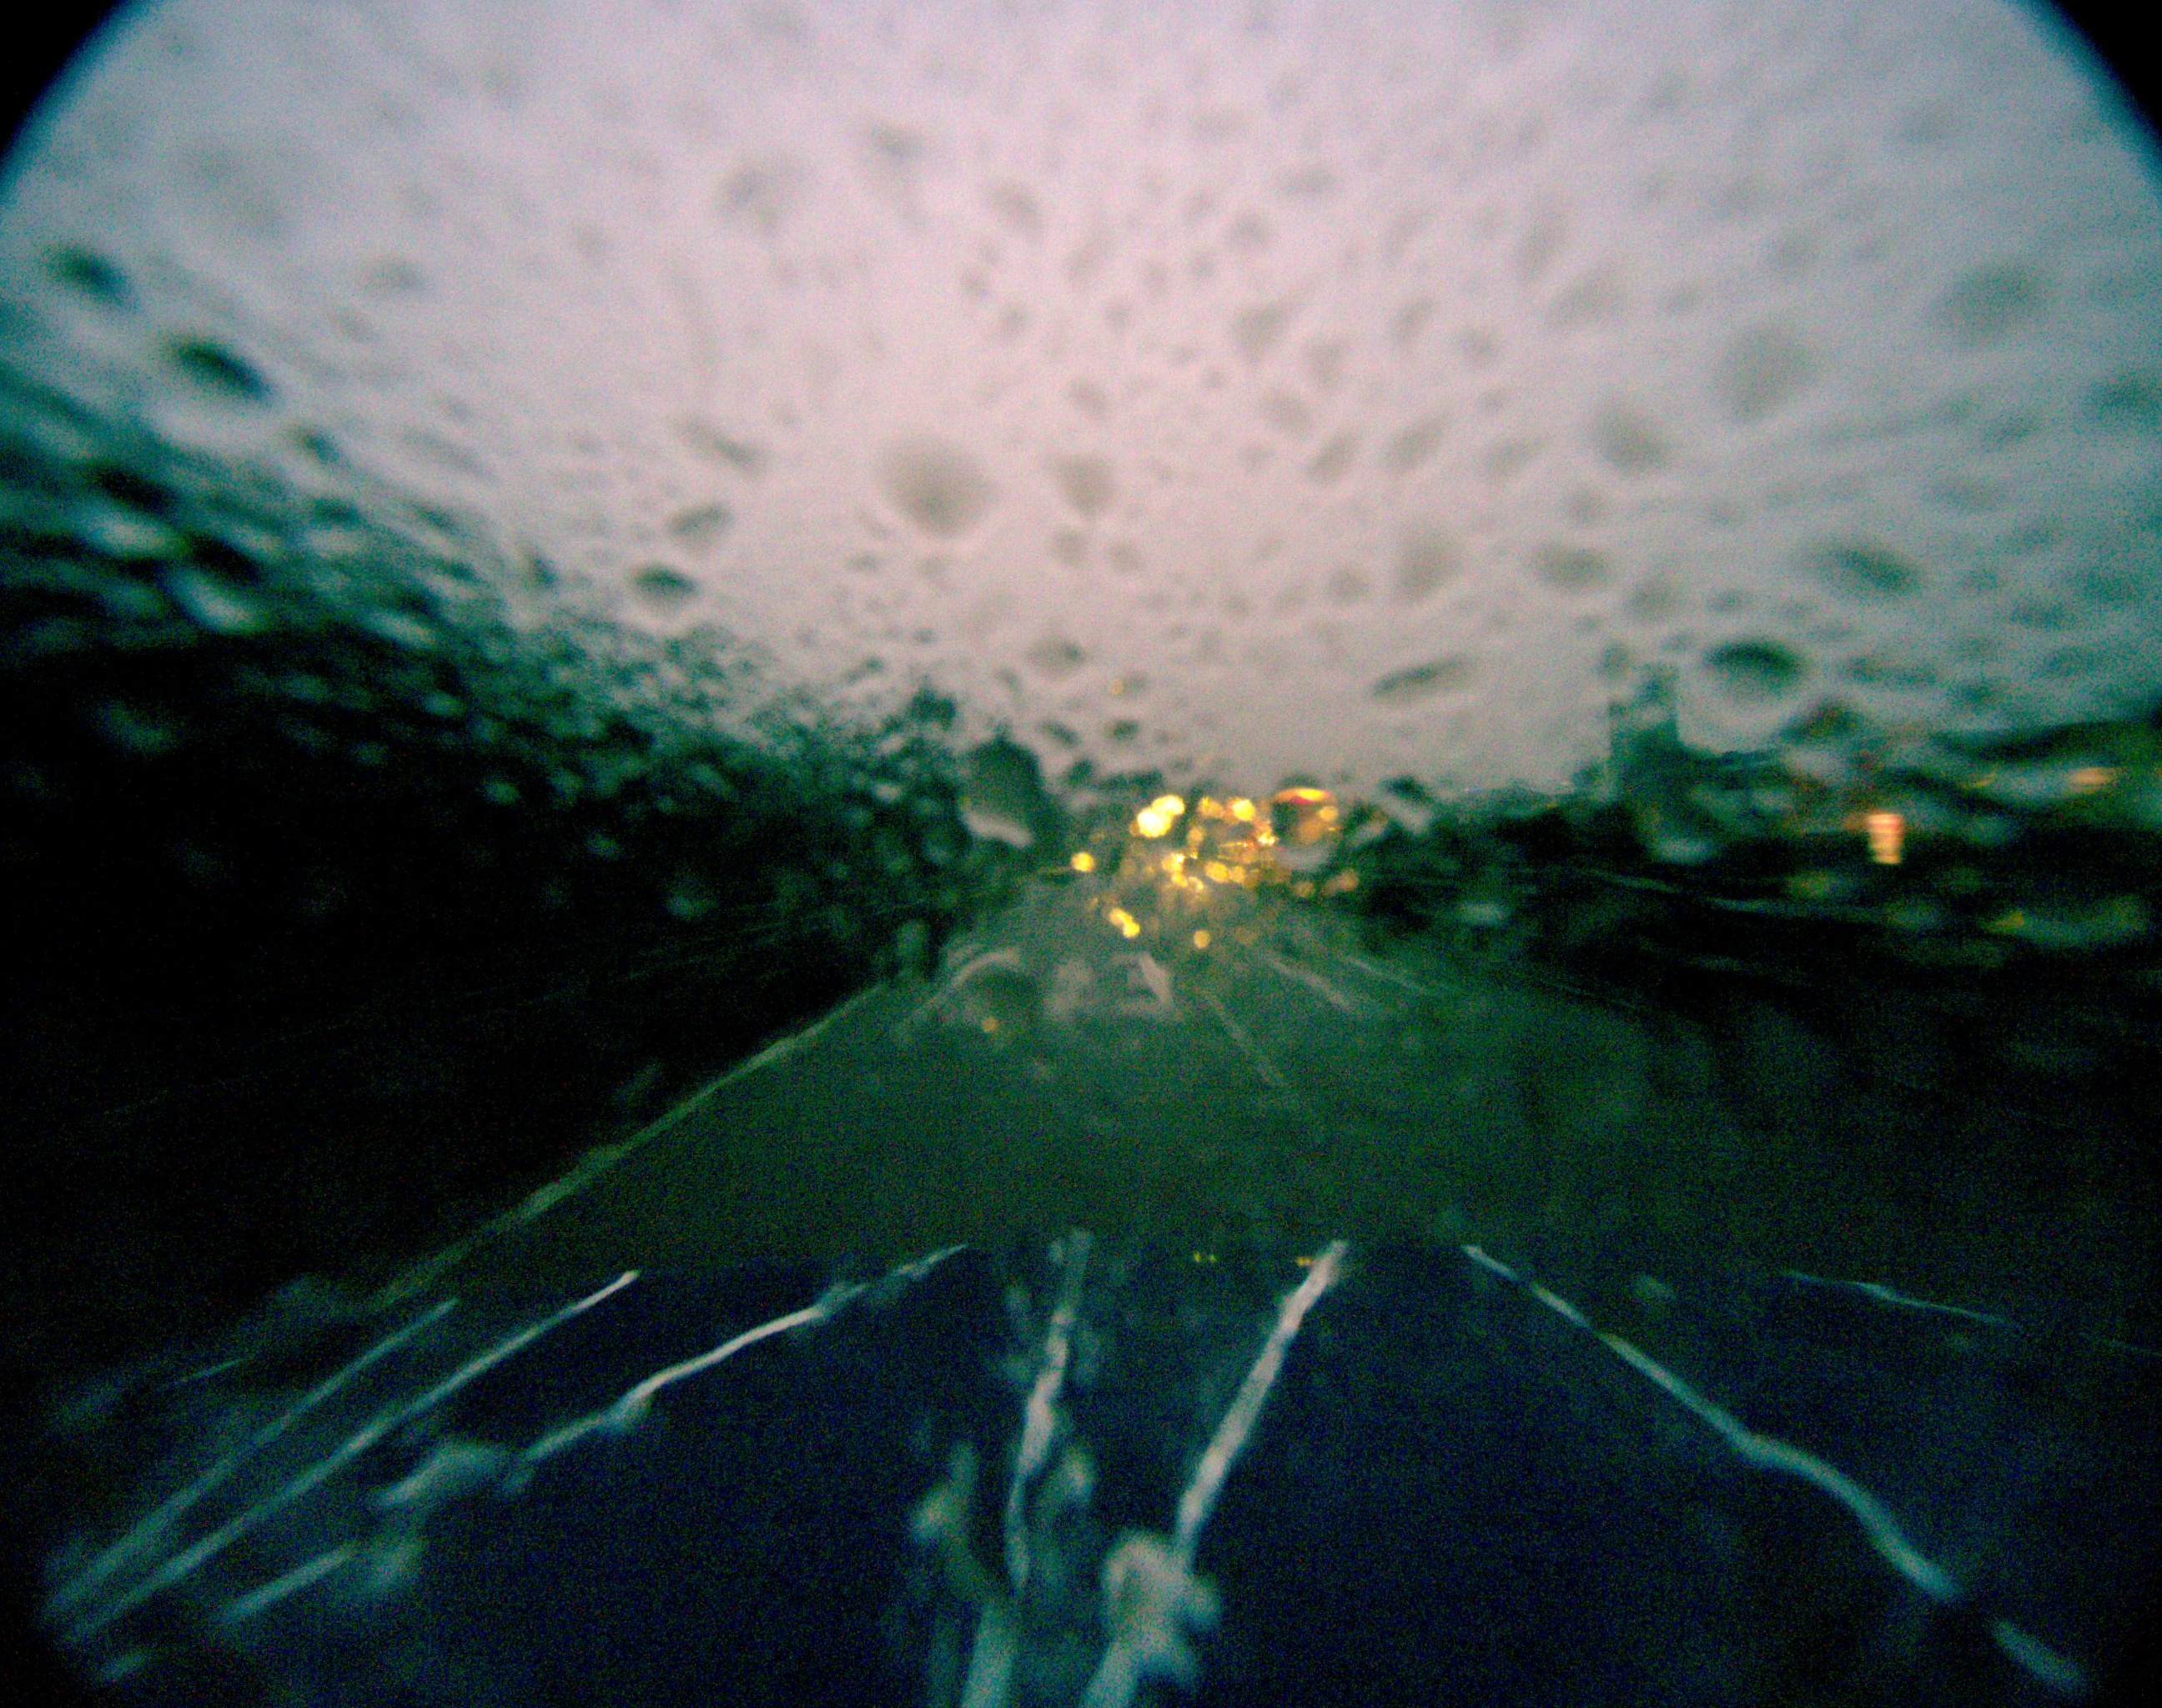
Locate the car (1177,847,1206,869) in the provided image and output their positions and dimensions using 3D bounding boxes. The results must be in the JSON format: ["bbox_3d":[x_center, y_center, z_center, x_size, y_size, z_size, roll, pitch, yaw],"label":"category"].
[{"bbox_3d":[11.586,0.409,79.635,1.996,2.002,4.004,-4,1,21],"label":"car"}]

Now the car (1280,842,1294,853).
[{"bbox_3d":[26.324,-0.861,97.351,1.674,1.412,4.085,-1,1,14],"label":"car"}]

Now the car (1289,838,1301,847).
[{"bbox_3d":[37.918,-2.063,134.768,1.996,1.663,4.433,-1,1,15],"label":"car"}]

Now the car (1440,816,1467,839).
[{"bbox_3d":[54.891,-3.855,112.084,3.195,3.192,9.953,0,2,24],"label":"car"}]
